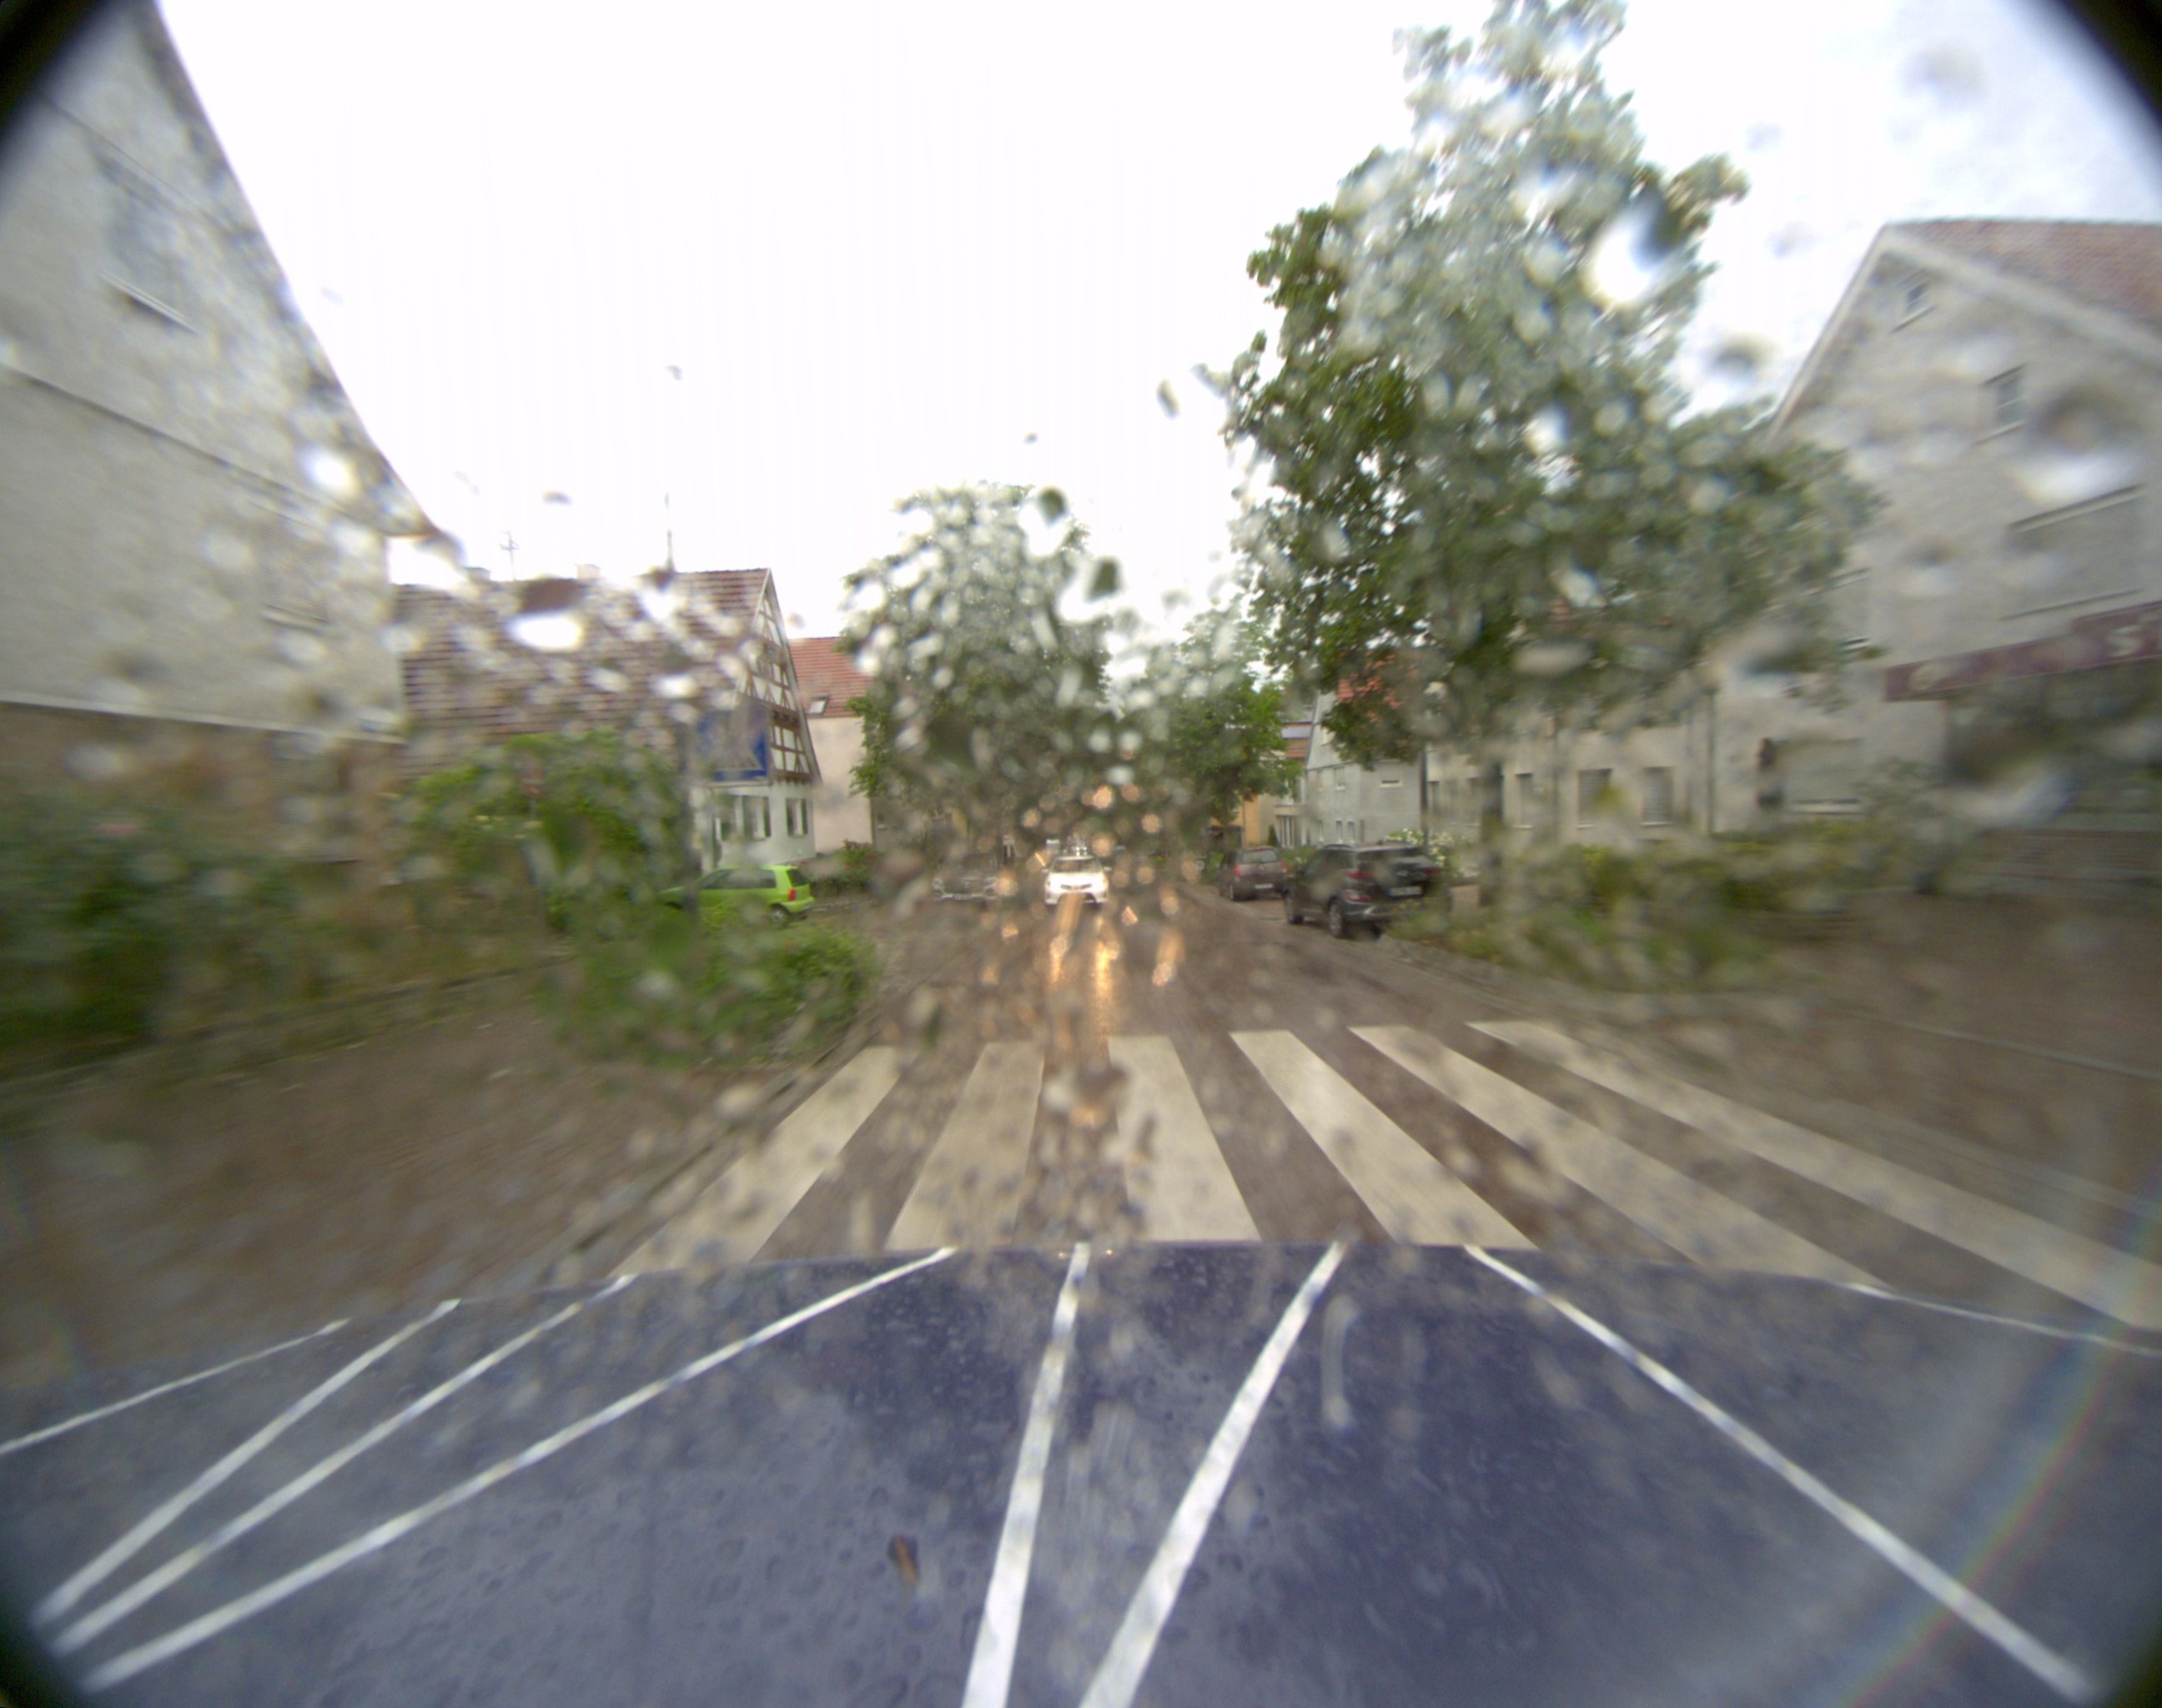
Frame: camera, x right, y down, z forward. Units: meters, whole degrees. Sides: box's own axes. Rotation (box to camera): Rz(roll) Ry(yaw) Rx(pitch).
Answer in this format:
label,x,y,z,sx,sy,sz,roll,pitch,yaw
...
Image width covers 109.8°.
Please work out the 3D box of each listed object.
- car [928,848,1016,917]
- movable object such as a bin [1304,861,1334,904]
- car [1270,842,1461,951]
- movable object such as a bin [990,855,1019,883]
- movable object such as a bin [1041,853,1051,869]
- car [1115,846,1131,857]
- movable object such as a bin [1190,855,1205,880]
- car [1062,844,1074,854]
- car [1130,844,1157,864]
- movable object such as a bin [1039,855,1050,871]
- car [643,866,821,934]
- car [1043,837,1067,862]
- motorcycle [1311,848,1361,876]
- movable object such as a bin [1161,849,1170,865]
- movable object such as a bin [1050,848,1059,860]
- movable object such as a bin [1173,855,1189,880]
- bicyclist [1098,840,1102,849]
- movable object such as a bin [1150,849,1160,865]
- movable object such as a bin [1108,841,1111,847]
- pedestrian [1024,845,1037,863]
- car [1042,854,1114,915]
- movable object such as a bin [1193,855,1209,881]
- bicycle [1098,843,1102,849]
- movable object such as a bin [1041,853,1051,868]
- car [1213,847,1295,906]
label,x,y,z,sx,sy,sz,roll,pitch,yaw
car,-3.166,0.762,22.981,1.919,1.782,4.487,-3,1,0
movable object such as a bin,6.284,0.746,20.078,0.554,1.092,0.595,-3,0,-1
car,4.856,0.637,13.611,1.776,1.544,3.999,-4,0,-1
movable object such as a bin,-3.722,0.735,37.111,1.227,1.308,1.134,-2,1,3
movable object such as a bin,-2.439,0.470,53.018,0.690,1.076,0.540,-2,2,-4
car,5.403,-0.346,98.042,1.754,1.388,3.795,-3,1,1
movable object such as a bin,5.304,0.630,34.565,0.612,1.105,0.564,-2,1,2
car,-1.899,-0.715,109.331,1.685,1.391,3.794,-2,1,0
car,4.971,-0.032,61.039,1.776,1.381,4.545,-4,1,2
movable object such as a bin,-2.442,0.598,51.044,0.645,1.076,0.540,-3,2,-4
car,-8.031,1.028,17.734,3.374,1.422,1.630,-1,1,-3
car,-2.689,-0.550,79.982,2.146,2.446,5.434,-3,1,0
motorcycle,11.576,0.339,34.543,1.987,1.155,0.818,-3,2,1
movable object such as a bin,5.972,0.209,53.670,0.596,1.056,0.545,-3,1,4
movable object such as a bin,-2.515,-0.017,71.915,0.799,1.069,0.878,-3,1,0
movable object such as a bin,4.567,0.603,34.629,0.644,1.105,0.536,-2,1,2
bicyclist,3.788,-1.923,152.922,0.629,1.721,0.880,-3,2,0
movable object such as a bin,5.209,0.229,53.517,0.596,1.056,0.545,-5,1,4
movable object such as a bin,5.366,-1.915,142.841,0.618,1.053,0.568,-5,2,-1
pedestrian,-4.691,-0.030,70.836,0.955,1.642,0.794,-1,2,14
car,-0.002,0.816,22.180,1.828,1.451,3.875,-3,1,2
movable object such as a bin,5.378,0.616,33.951,0.612,1.105,0.564,-2,1,2
bicycle,3.797,-1.602,153.111,0.629,1.202,1.980,-3,1,0
movable object such as a bin,-2.476,0.458,53.668,0.690,1.076,0.540,-3,2,-4
car,5.150,0.606,23.031,1.651,1.524,3.865,-3,1,2
